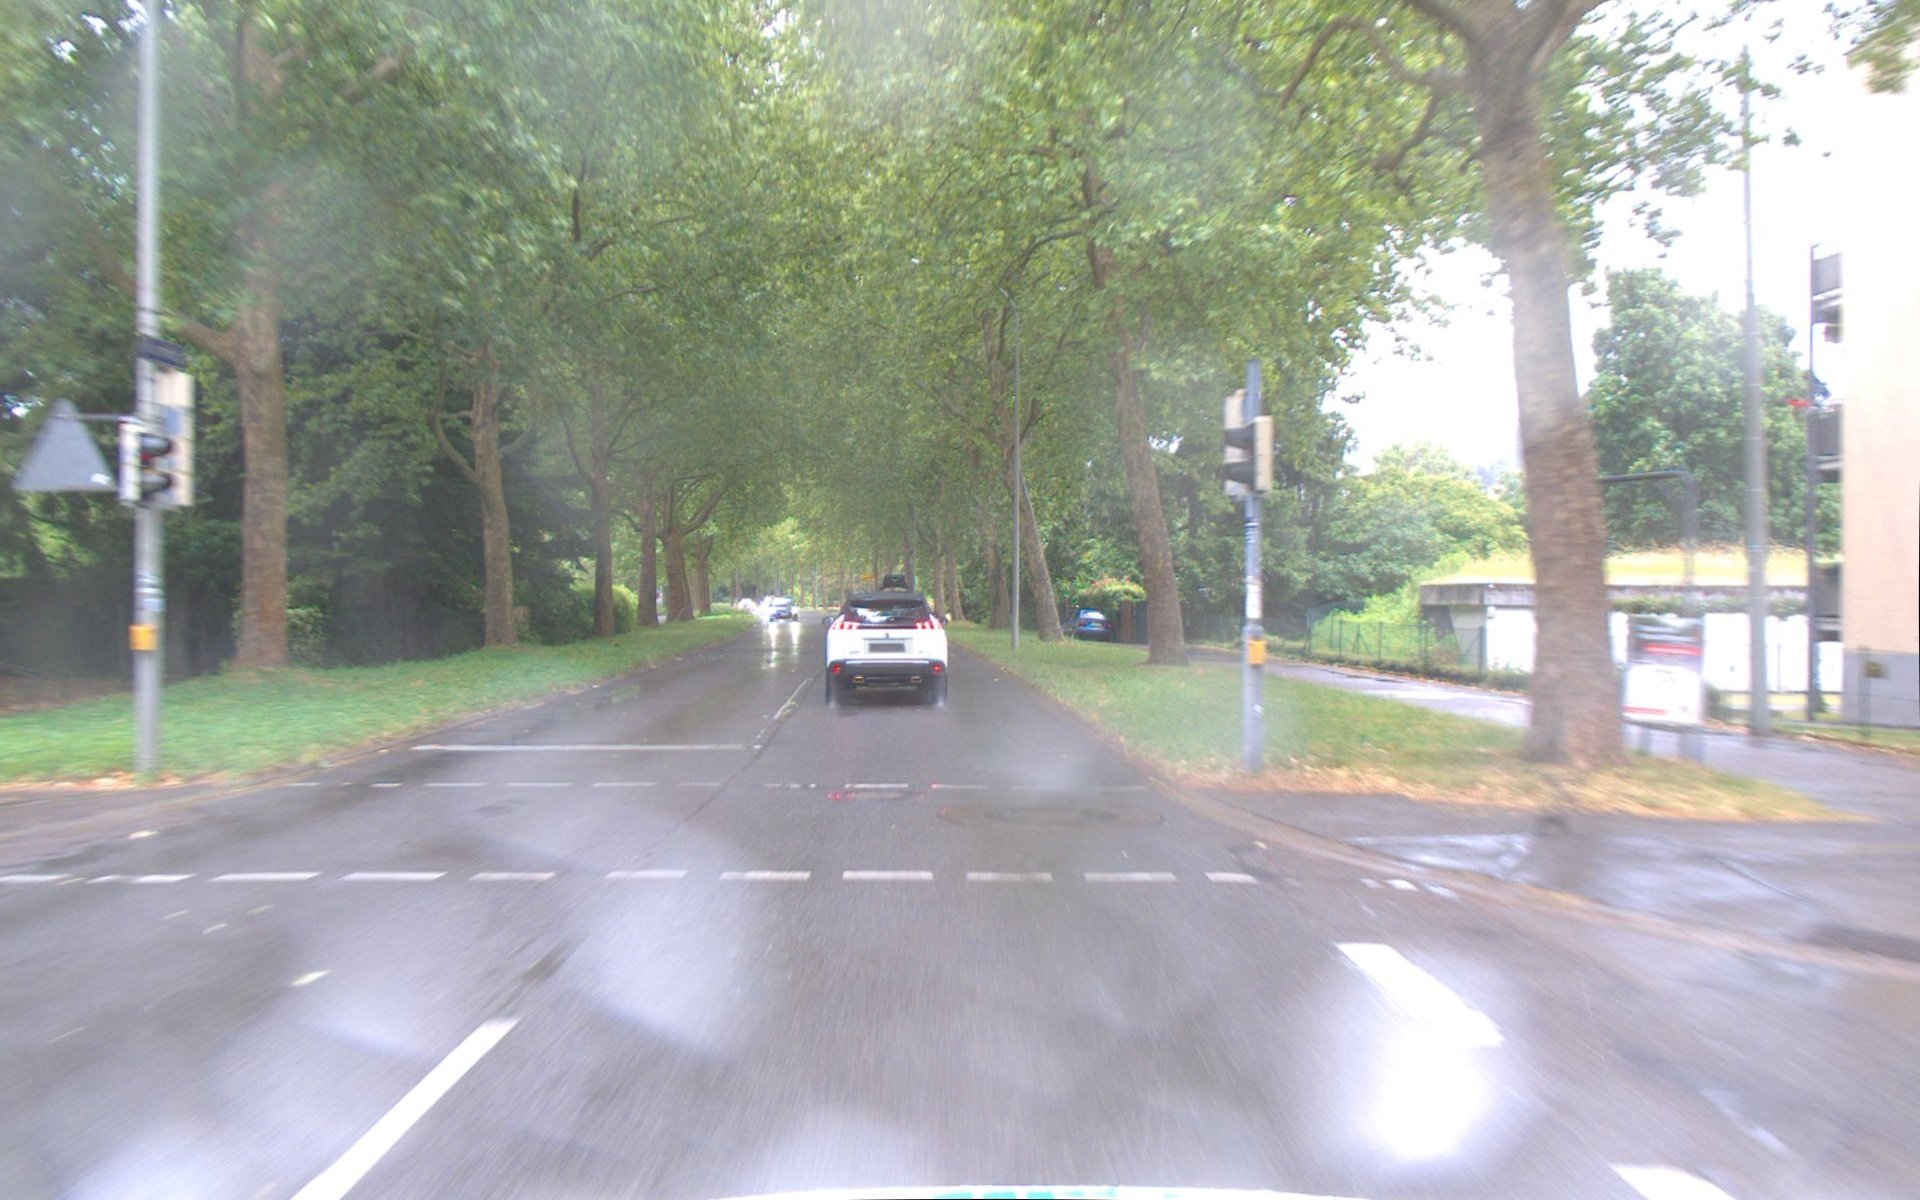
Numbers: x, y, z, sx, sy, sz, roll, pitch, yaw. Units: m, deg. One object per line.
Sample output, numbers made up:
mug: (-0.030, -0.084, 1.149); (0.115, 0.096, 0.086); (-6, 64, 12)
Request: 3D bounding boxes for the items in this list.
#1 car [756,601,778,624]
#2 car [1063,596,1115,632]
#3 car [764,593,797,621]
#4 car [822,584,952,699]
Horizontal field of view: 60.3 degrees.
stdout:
car: (-17.014, 1.095, 145.600); (1.707, 2.049, 3.661); (0, 0, -3)
car: (5.677, 0.596, 73.135); (1.867, 1.536, 3.929); (0, 0, -2)
car: (-11.450, 0.445, 105.930); (1.836, 1.706, 3.706); (0, 0, -2)
car: (-1.160, 0.576, 24.658); (1.745, 1.563, 4.053); (1, 0, -5)
